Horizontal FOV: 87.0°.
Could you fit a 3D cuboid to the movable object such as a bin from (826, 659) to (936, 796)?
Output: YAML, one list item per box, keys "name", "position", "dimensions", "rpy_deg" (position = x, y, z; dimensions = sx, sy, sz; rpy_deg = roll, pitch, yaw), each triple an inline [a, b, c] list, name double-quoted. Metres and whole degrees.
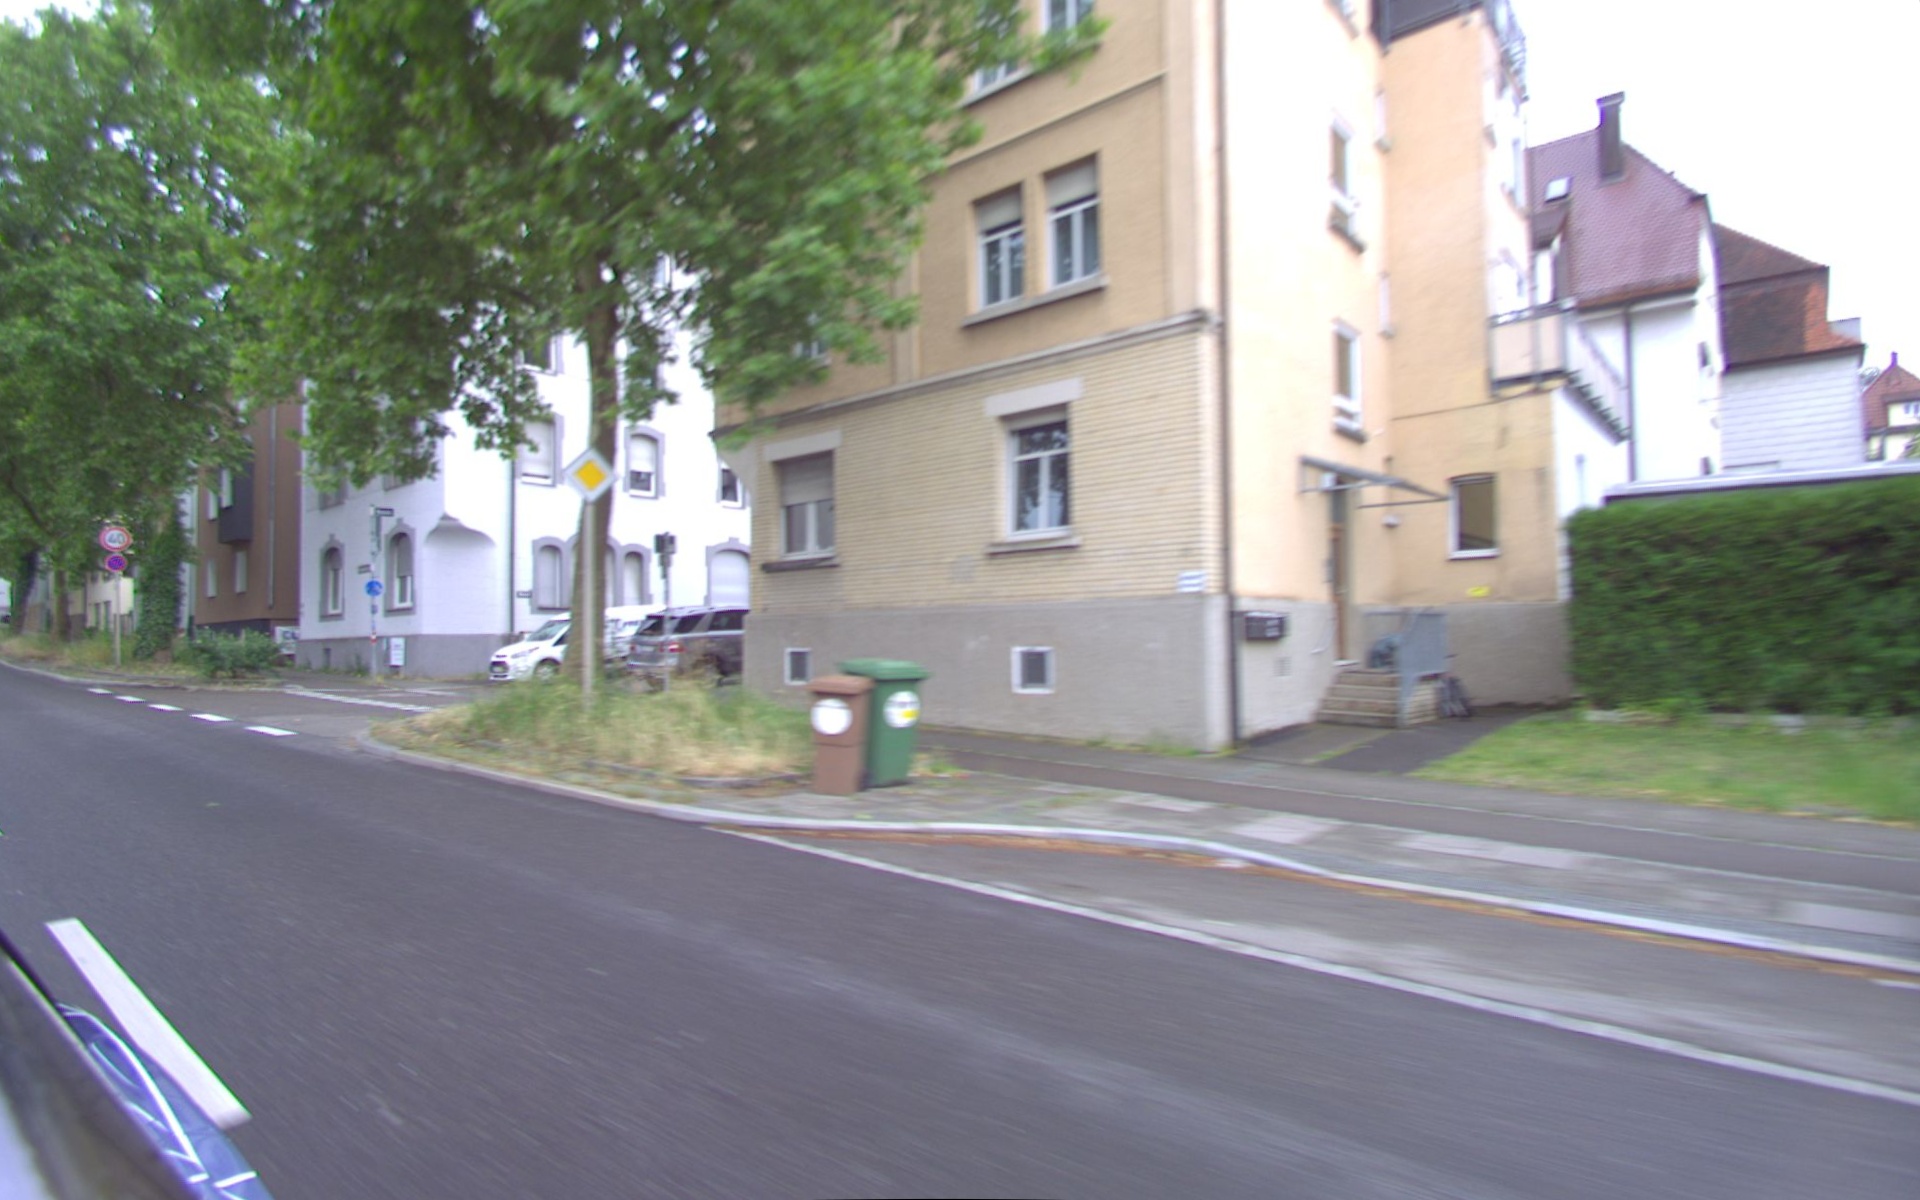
- name: "movable object such as a bin"
  position: [-0.667, 1.041, 8.543]
  dimensions: [0.762, 1.065, 0.529]
  rpy_deg: [-1, -3, 41]

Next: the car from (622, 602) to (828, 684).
- name: "car"
  position: [-5.161, 0.879, 22.581]
  dimensions: [2.042, 1.623, 4.071]
  rpy_deg: [0, 0, 42]

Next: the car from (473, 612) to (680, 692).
- name: "car"
  position: [-9.844, 1.258, 26.257]
  dimensions: [2.019, 1.791, 4.623]
  rpy_deg: [-1, 0, 40]

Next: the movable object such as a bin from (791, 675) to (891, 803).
- name: "movable object such as a bin"
  position: [-0.945, 1.079, 8.033]
  dimensions: [0.581, 0.935, 0.507]
  rpy_deg: [-1, -3, 41]
